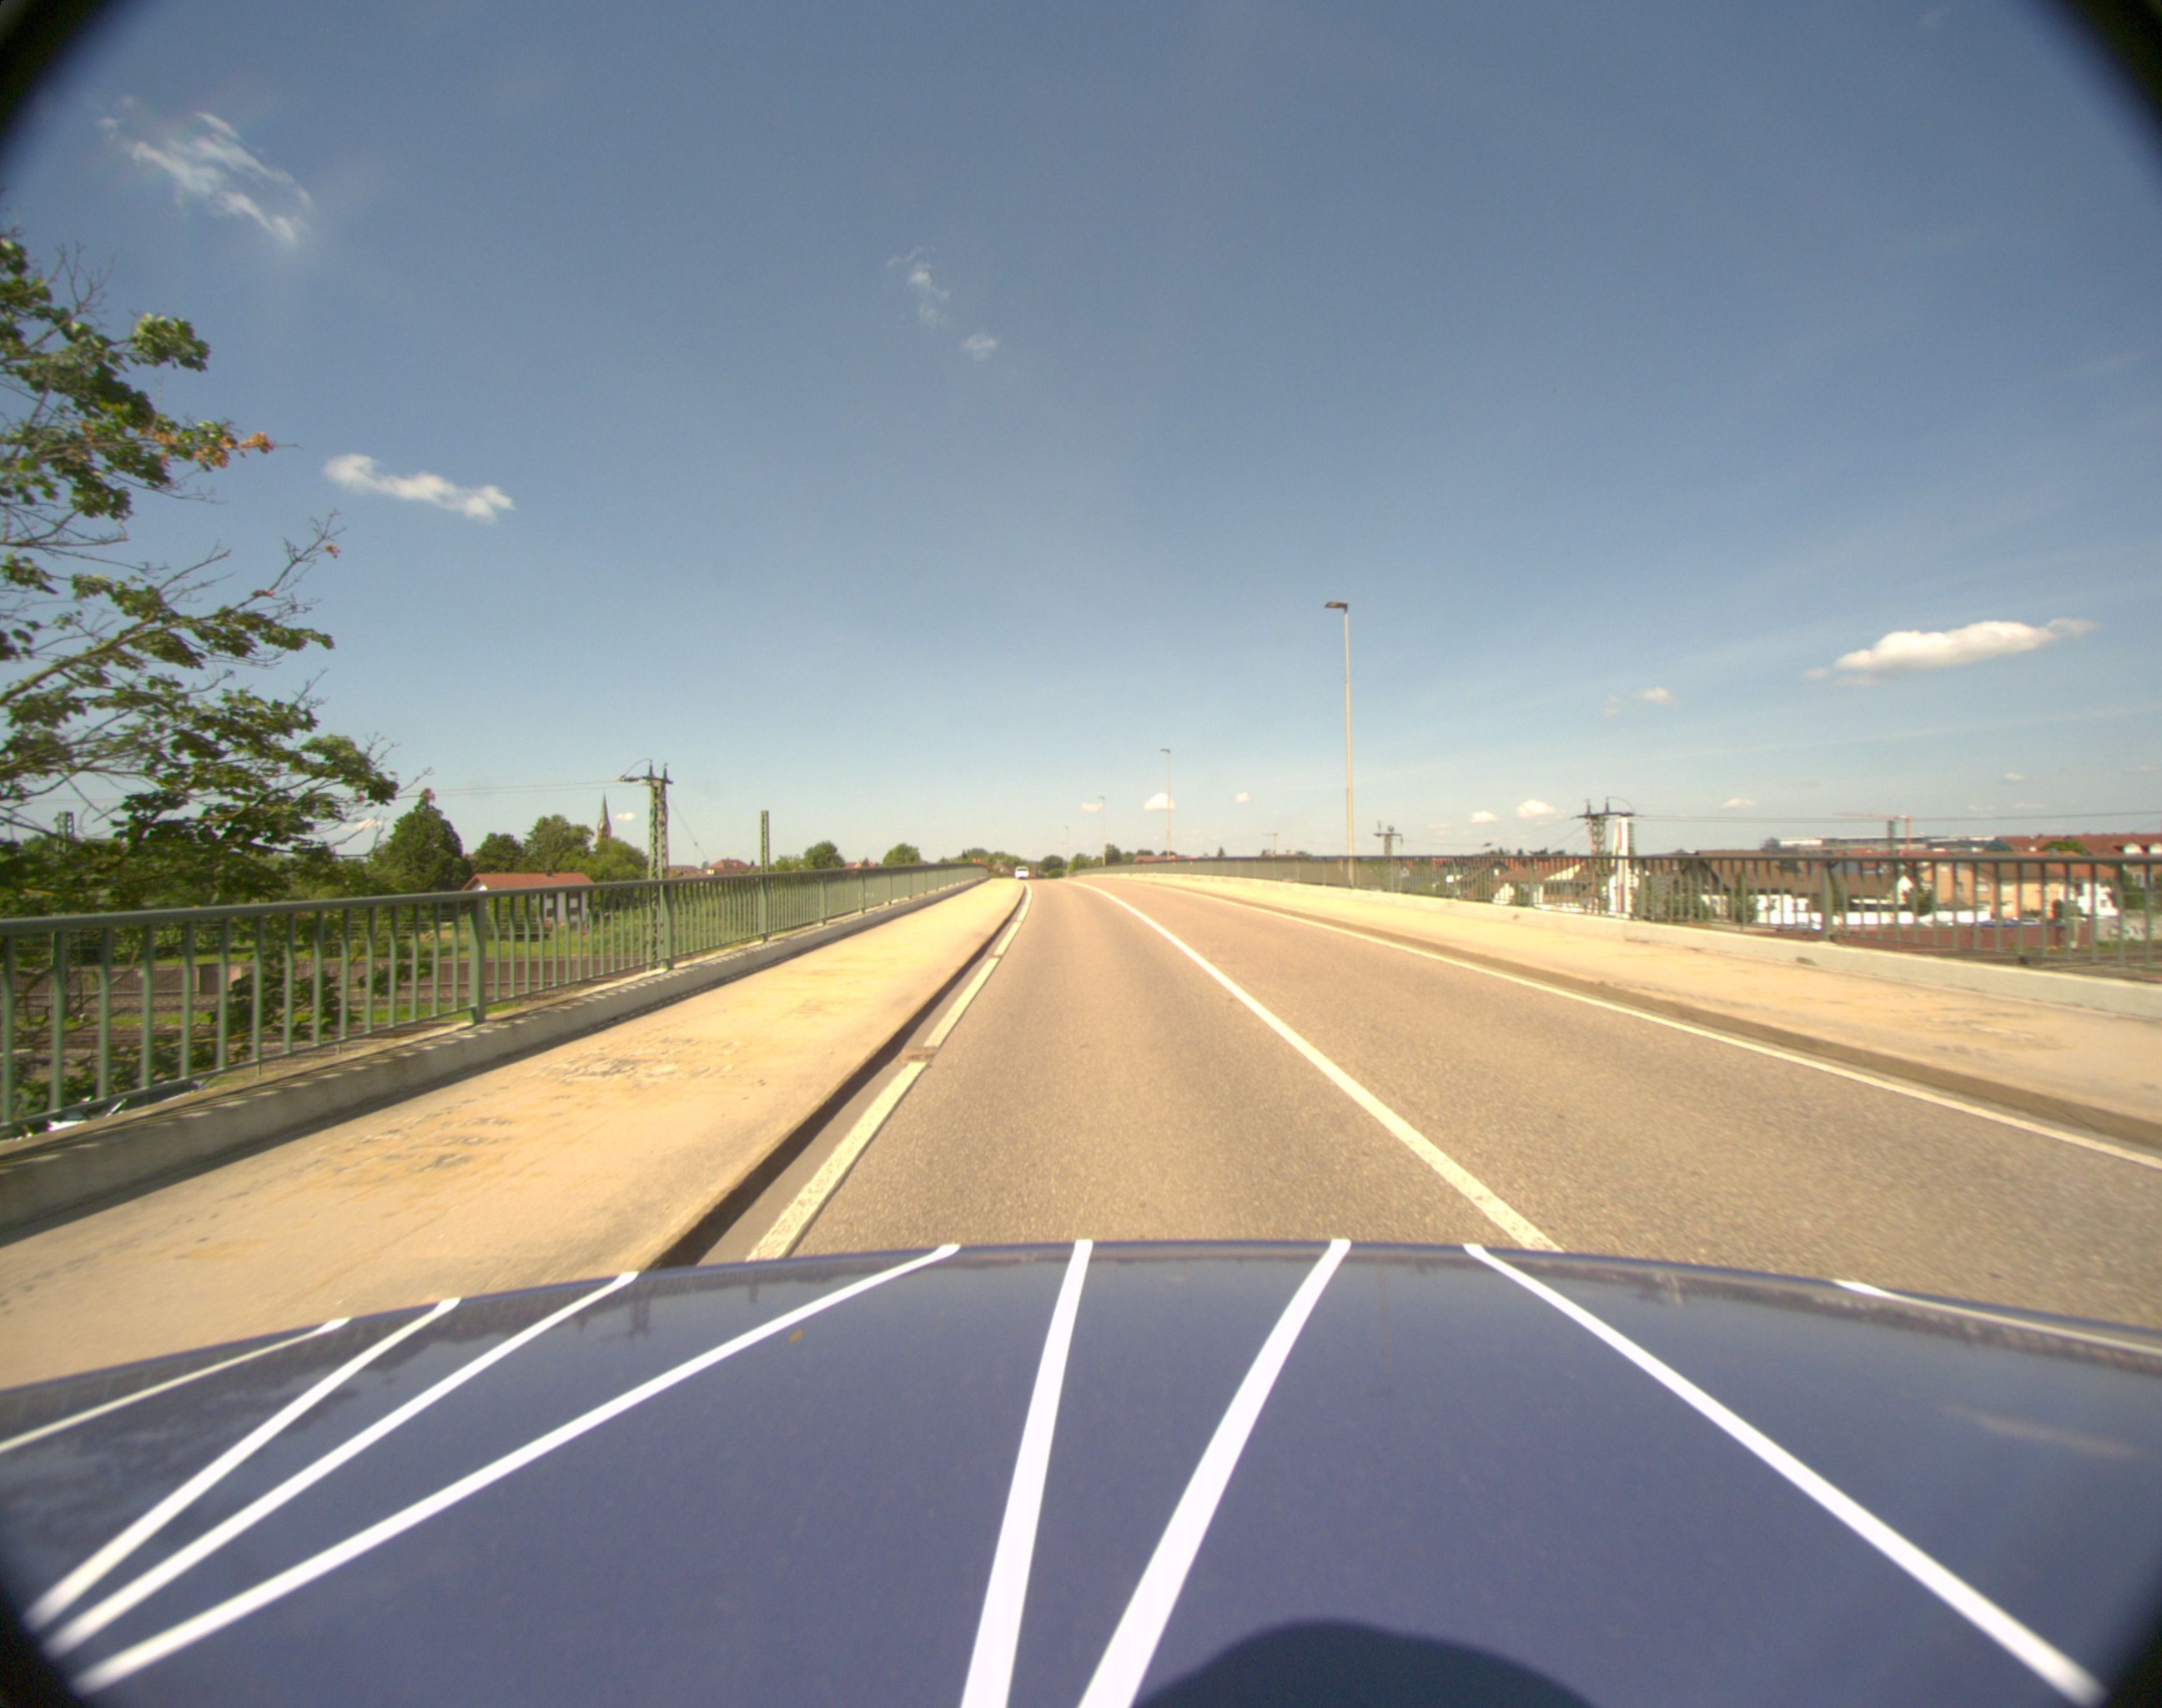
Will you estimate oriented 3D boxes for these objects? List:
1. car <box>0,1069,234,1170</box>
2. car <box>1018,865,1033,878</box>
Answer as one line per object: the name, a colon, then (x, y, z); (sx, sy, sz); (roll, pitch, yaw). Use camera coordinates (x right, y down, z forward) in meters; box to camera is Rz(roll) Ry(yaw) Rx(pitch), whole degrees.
car: (-30.202, 8.267, 24.062); (1.999, 1.585, 4.243); (-5, 0, -3)
car: (-7.786, 2.440, 106.518); (2.093, 1.750, 4.281); (-2, 0, -4)
